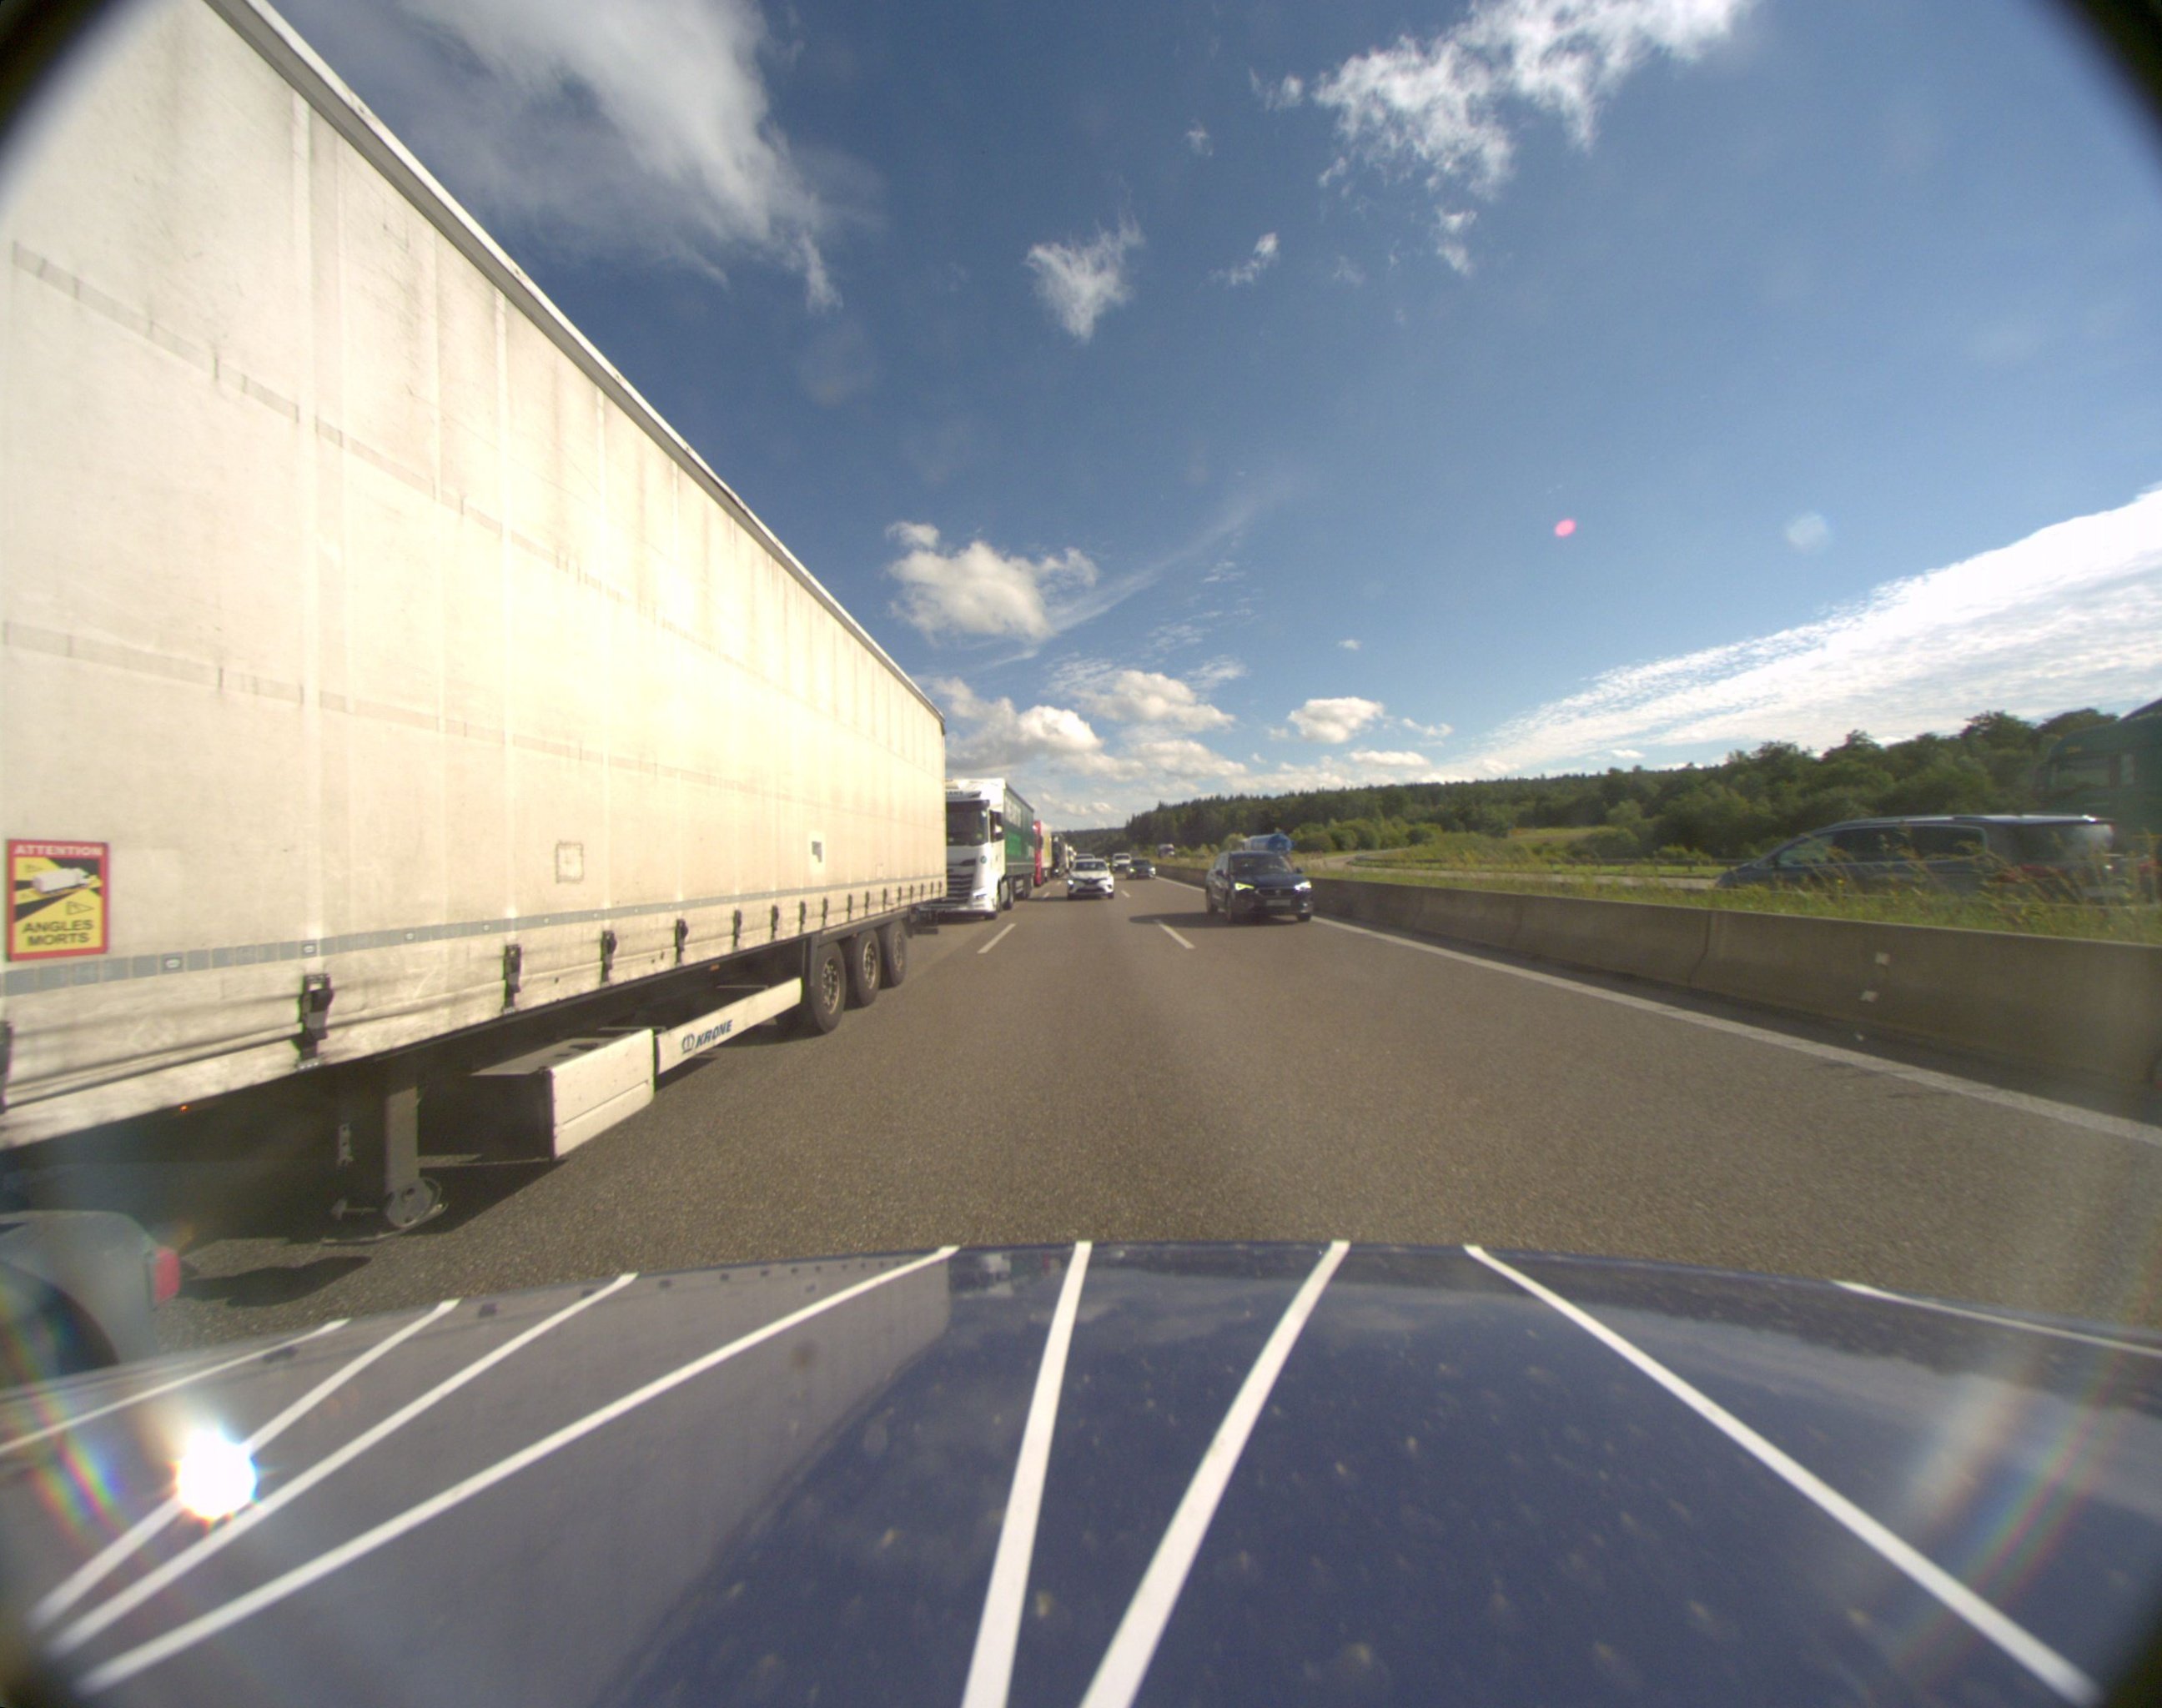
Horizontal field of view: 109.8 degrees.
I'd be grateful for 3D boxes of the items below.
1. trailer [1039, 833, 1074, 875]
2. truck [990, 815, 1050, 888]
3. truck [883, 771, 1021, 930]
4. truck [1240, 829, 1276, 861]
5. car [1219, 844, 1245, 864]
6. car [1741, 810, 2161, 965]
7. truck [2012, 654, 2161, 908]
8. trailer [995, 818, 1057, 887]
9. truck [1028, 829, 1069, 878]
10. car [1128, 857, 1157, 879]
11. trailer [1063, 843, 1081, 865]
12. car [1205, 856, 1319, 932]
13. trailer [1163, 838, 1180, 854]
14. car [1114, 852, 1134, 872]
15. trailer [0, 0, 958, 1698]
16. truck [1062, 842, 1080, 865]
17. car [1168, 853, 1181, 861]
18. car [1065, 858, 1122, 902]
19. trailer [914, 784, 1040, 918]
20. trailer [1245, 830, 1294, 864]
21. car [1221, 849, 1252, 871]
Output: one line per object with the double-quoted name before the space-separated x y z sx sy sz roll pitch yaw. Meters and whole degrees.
"trailer" -2.489 -0.020 79.276 2.722 3.937 8.712 -5 0 2
"truck" -3.506 -0.151 45.066 2.809 3.916 5.825 -3 1 1
"truck" -3.450 -0.102 22.259 2.653 3.846 6.995 -2 0 1
"truck" 19.533 -0.936 84.096 2.323 3.255 6.104 -5 0 0
"car" 15.483 -0.053 77.895 1.764 1.871 4.000 -5 0 1
"car" 11.510 0.342 10.238 1.673 1.573 4.000 -5 0 0
"truck" 19.344 -1.225 9.477 2.718 4.219 10.343 -1 0 0
"trailer" -3.426 -0.136 50.985 2.799 3.916 13.069 -3 0 1
"truck" -2.851 -0.072 69.851 2.747 4.015 10.203 -5 0 2
"car" 4.334 0.975 54.369 1.779 1.451 4.158 -1 0 1
"trailer" -1.618 0.005 145.183 2.652 3.911 11.175 -5 0 2
"car" 4.163 0.851 18.142 1.779 1.533 4.158 -1 0 1
"trailer" 20.831 -1.882 175.355 2.806 3.508 8.953 -2 0 1
"car" 4.331 0.777 76.788 1.779 1.923 4.214 -1 0 1
"trailer" -3.536 -0.291 6.339 2.709 4.058 12.944 -1 0 1
"truck" -1.807 0.007 139.156 2.655 3.901 6.943 -5 0 2
"car" 15.899 0.503 128.801 1.694 1.274 3.708 -5 0 1
"car" 0.536 0.955 30.226 2.026 1.510 5.299 -2 0 2
"trailer" -3.401 -0.131 28.906 2.668 3.846 13.393 -2 0 1
"trailer" 19.592 -0.678 79.543 2.327 3.265 10.875 -2 0 0
"car" 12.820 0.449 62.721 1.675 1.615 3.766 -5 0 1
